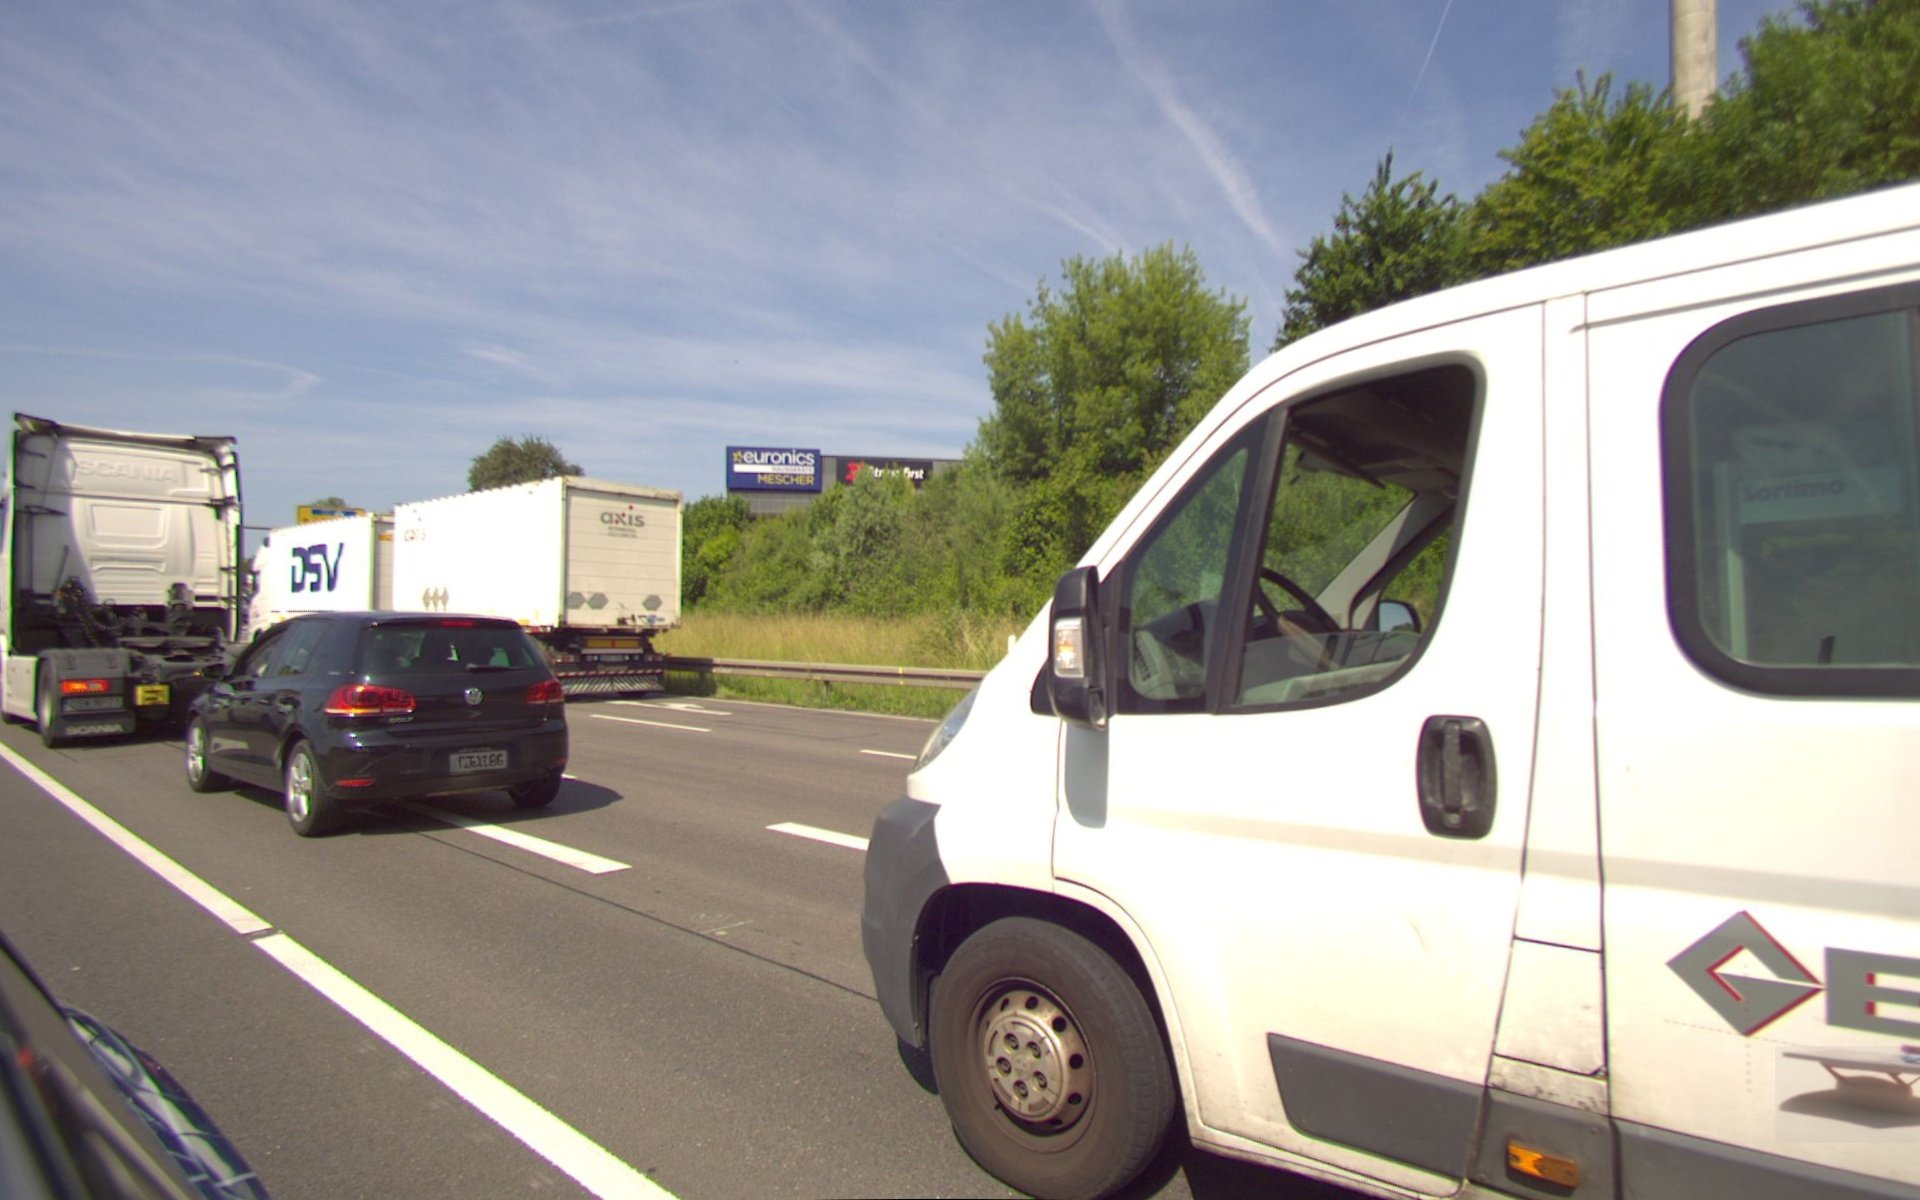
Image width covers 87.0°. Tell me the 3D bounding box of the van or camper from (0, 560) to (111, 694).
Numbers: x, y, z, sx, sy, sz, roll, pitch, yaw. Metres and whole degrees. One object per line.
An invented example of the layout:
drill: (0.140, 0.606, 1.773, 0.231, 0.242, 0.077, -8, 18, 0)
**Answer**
van or camper: (-21.047, 0.564, 22.408, 6.974, 2.620, 2.306, -1, -2, 41)

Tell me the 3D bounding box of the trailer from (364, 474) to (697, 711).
trailer: (-9.362, -0.067, 21.398, 8.750, 4.100, 2.811, -1, -2, 40)

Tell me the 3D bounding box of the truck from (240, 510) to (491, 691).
truck: (-16.357, 0.072, 27.419, 9.675, 4.147, 2.800, -1, -2, 40)

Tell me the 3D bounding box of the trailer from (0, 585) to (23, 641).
trailer: (-75.293, 0.989, 78.399, 14.130, 4.111, 3.058, -1, -2, 44)

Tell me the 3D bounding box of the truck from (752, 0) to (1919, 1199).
truck: (2.519, 0.273, 1.800, 6.497, 2.285, 2.203, -1, -2, 42)

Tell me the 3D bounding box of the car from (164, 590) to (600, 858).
car: (-4.666, 0.758, 7.911, 4.107, 1.563, 1.693, -1, -2, 41)

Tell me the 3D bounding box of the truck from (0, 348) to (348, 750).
truck: (-10.665, -0.479, 13.337, 6.261, 4.119, 2.511, -1, -2, 40)
